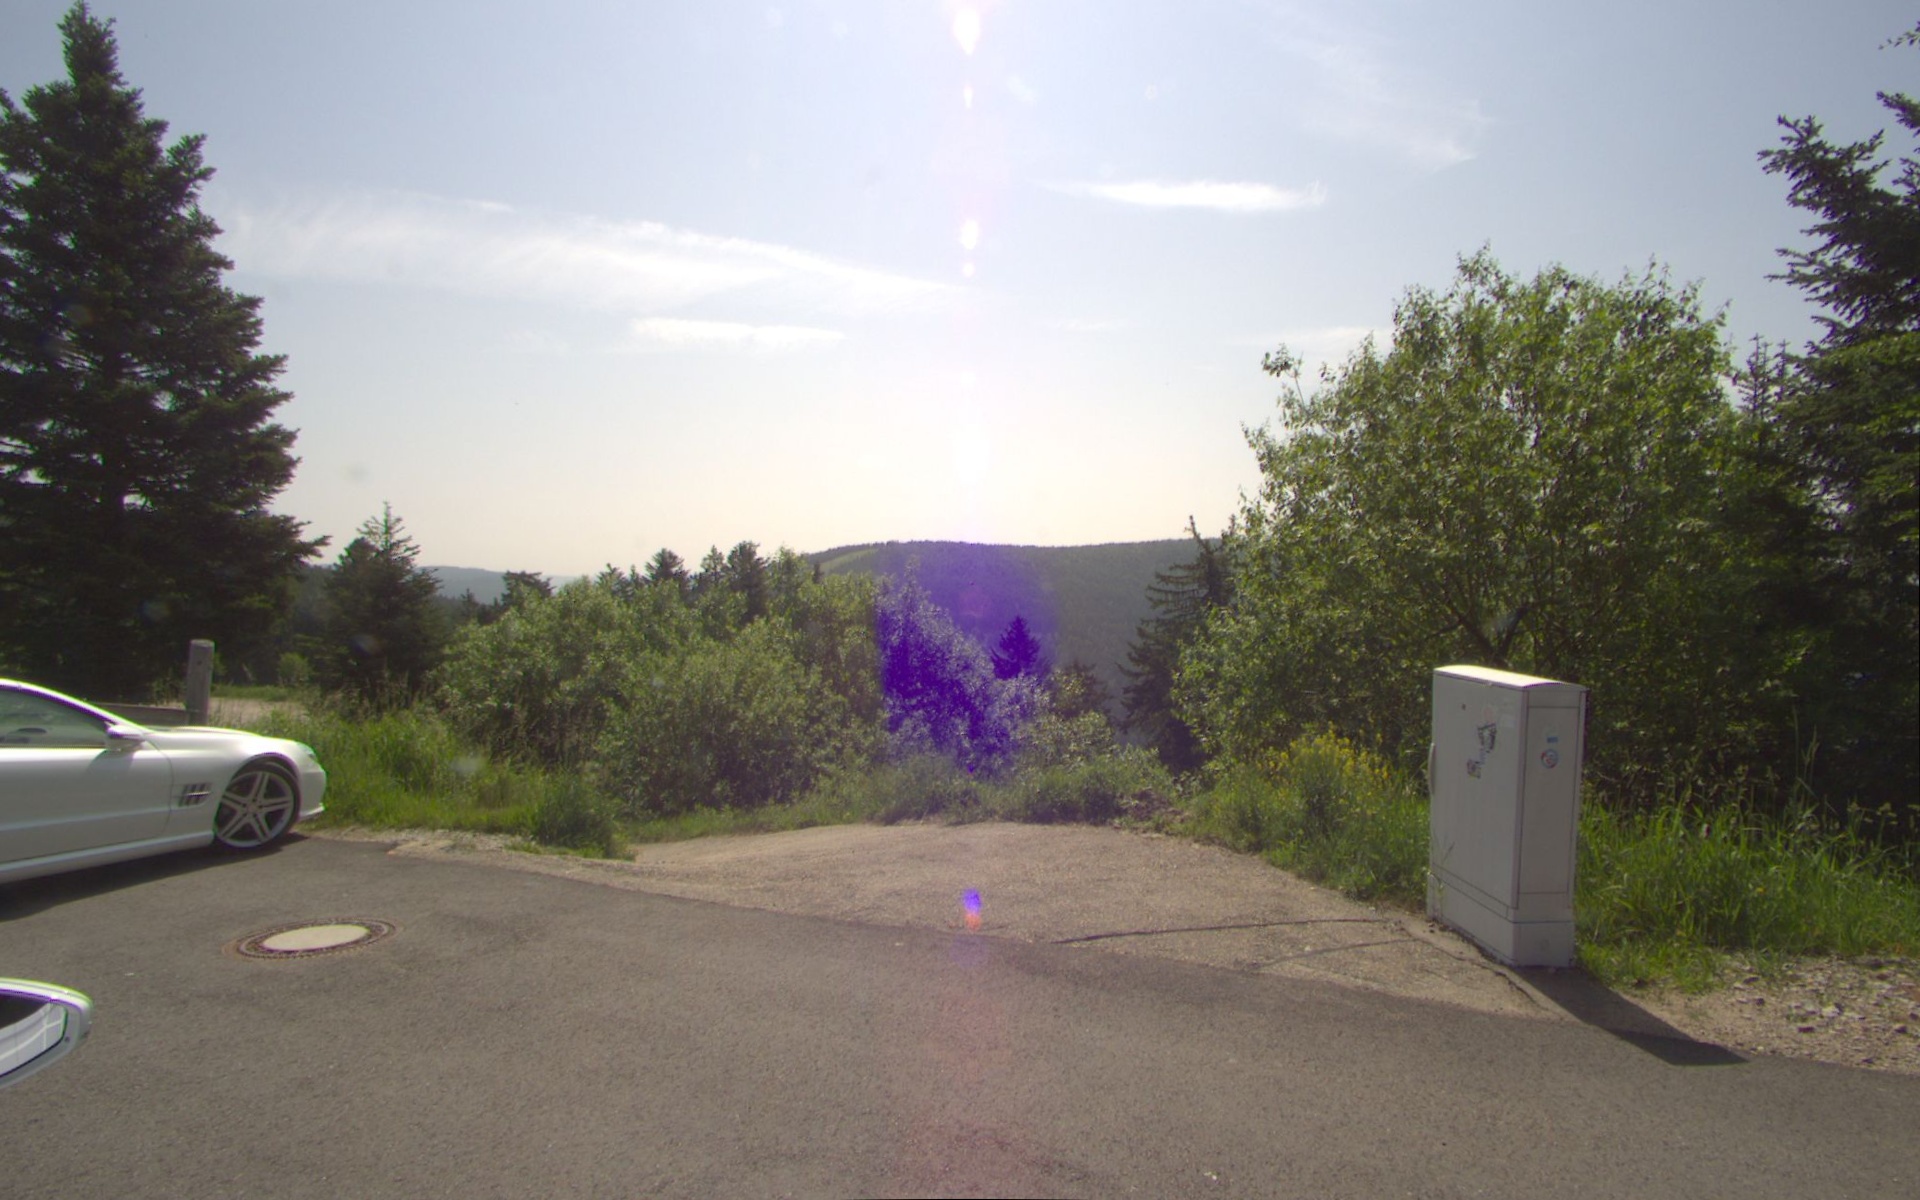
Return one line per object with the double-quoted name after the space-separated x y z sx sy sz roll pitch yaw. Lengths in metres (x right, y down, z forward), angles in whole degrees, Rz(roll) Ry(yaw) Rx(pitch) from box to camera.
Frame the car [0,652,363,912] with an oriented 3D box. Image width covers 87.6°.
-5.831 0.980 5.769 1.722 1.312 4.415 1 -3 7 "car"
